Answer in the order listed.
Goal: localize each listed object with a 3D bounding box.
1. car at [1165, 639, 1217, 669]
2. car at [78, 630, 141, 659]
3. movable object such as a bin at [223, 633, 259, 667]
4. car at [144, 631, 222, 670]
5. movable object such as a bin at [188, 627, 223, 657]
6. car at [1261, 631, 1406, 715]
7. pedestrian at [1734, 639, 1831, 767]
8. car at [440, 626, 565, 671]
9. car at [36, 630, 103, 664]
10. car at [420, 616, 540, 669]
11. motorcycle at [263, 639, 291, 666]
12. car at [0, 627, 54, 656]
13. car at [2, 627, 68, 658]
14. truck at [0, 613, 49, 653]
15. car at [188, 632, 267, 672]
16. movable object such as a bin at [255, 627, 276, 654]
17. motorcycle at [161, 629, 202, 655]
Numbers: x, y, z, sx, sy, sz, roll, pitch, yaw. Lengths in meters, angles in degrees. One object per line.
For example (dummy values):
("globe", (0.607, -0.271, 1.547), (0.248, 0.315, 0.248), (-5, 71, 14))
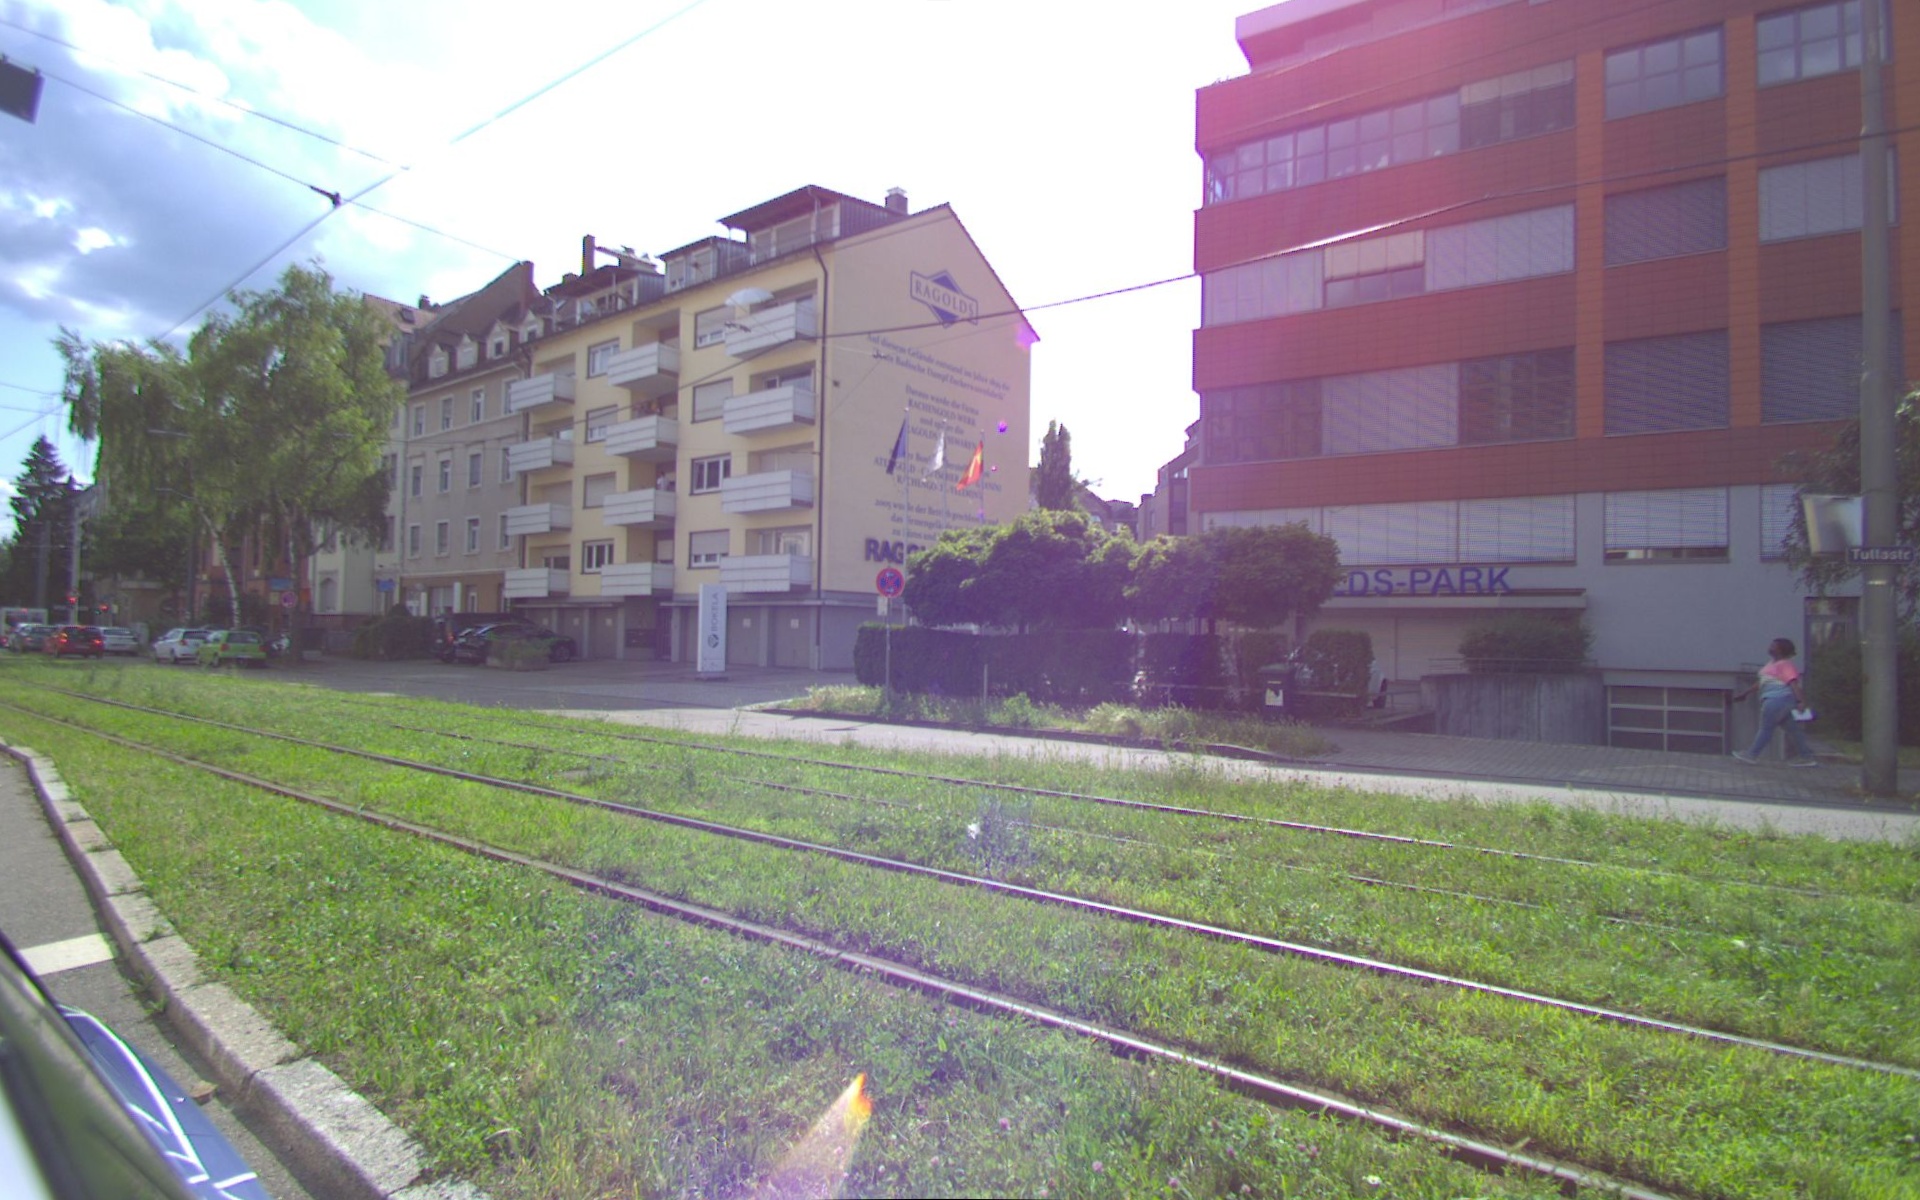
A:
("car", (14.073, 3.285, 61.937), (1.743, 1.708, 4.007), (1, -3, -8))
("car", (-42.851, 2.241, 50.981), (3.992, 1.366, 1.737), (-1, -4, 41))
("movable object such as a bin", (-31.978, 2.210, 45.019), (1.519, 1.441, 0.942), (-1, -1, 38))
("car", (-32.585, 2.101, 42.417), (4.221, 1.489, 1.628), (-1, -5, 40))
("movable object such as a bin", (-36.808, 2.022, 49.370), (1.519, 1.377, 0.942), (-1, 2, 38))
("car", (8.166, 1.526, 21.938), (1.996, 1.608, 3.952), (-1, -3, 35))
("pedestrian", (10.648, 1.310, 13.104), (0.889, 1.586, 0.737), (-3, -5, 41))
("car", (-17.572, 1.819, 38.993), (1.970, 1.614, 3.948), (-1, -1, 39))
("car", (-38.913, 2.030, 44.194), (3.689, 1.397, 1.563), (-1, -4, 39))
("car", (-19.395, 1.666, 40.991), (1.936, 2.029, 3.944), (-1, -1, 42))
("motorcycle", (-28.495, 2.193, 42.214), (1.630, 1.050, 0.494), (0, 1, 38))
("car", (-49.264, 2.176, 53.422), (4.134, 1.425, 1.736), (-1, -5, 43))
("car", (-44.547, 2.027, 48.711), (4.509, 1.366, 1.737), (-1, -5, 41))
("truck", (-55.889, 1.963, 59.990), (6.612, 2.231, 2.161), (-2, -4, 43))
("car", (-28.515, 2.014, 39.366), (3.611, 1.443, 1.578), (-1, -4, 40))
("movable object such as a bin", (-36.337, 2.116, 52.924), (0.698, 1.372, 0.667), (-1, -3, 35))
("motorcycle", (-39.186, 2.107, 50.915), (2.288, 1.252, 0.893), (-1, -3, 33))
